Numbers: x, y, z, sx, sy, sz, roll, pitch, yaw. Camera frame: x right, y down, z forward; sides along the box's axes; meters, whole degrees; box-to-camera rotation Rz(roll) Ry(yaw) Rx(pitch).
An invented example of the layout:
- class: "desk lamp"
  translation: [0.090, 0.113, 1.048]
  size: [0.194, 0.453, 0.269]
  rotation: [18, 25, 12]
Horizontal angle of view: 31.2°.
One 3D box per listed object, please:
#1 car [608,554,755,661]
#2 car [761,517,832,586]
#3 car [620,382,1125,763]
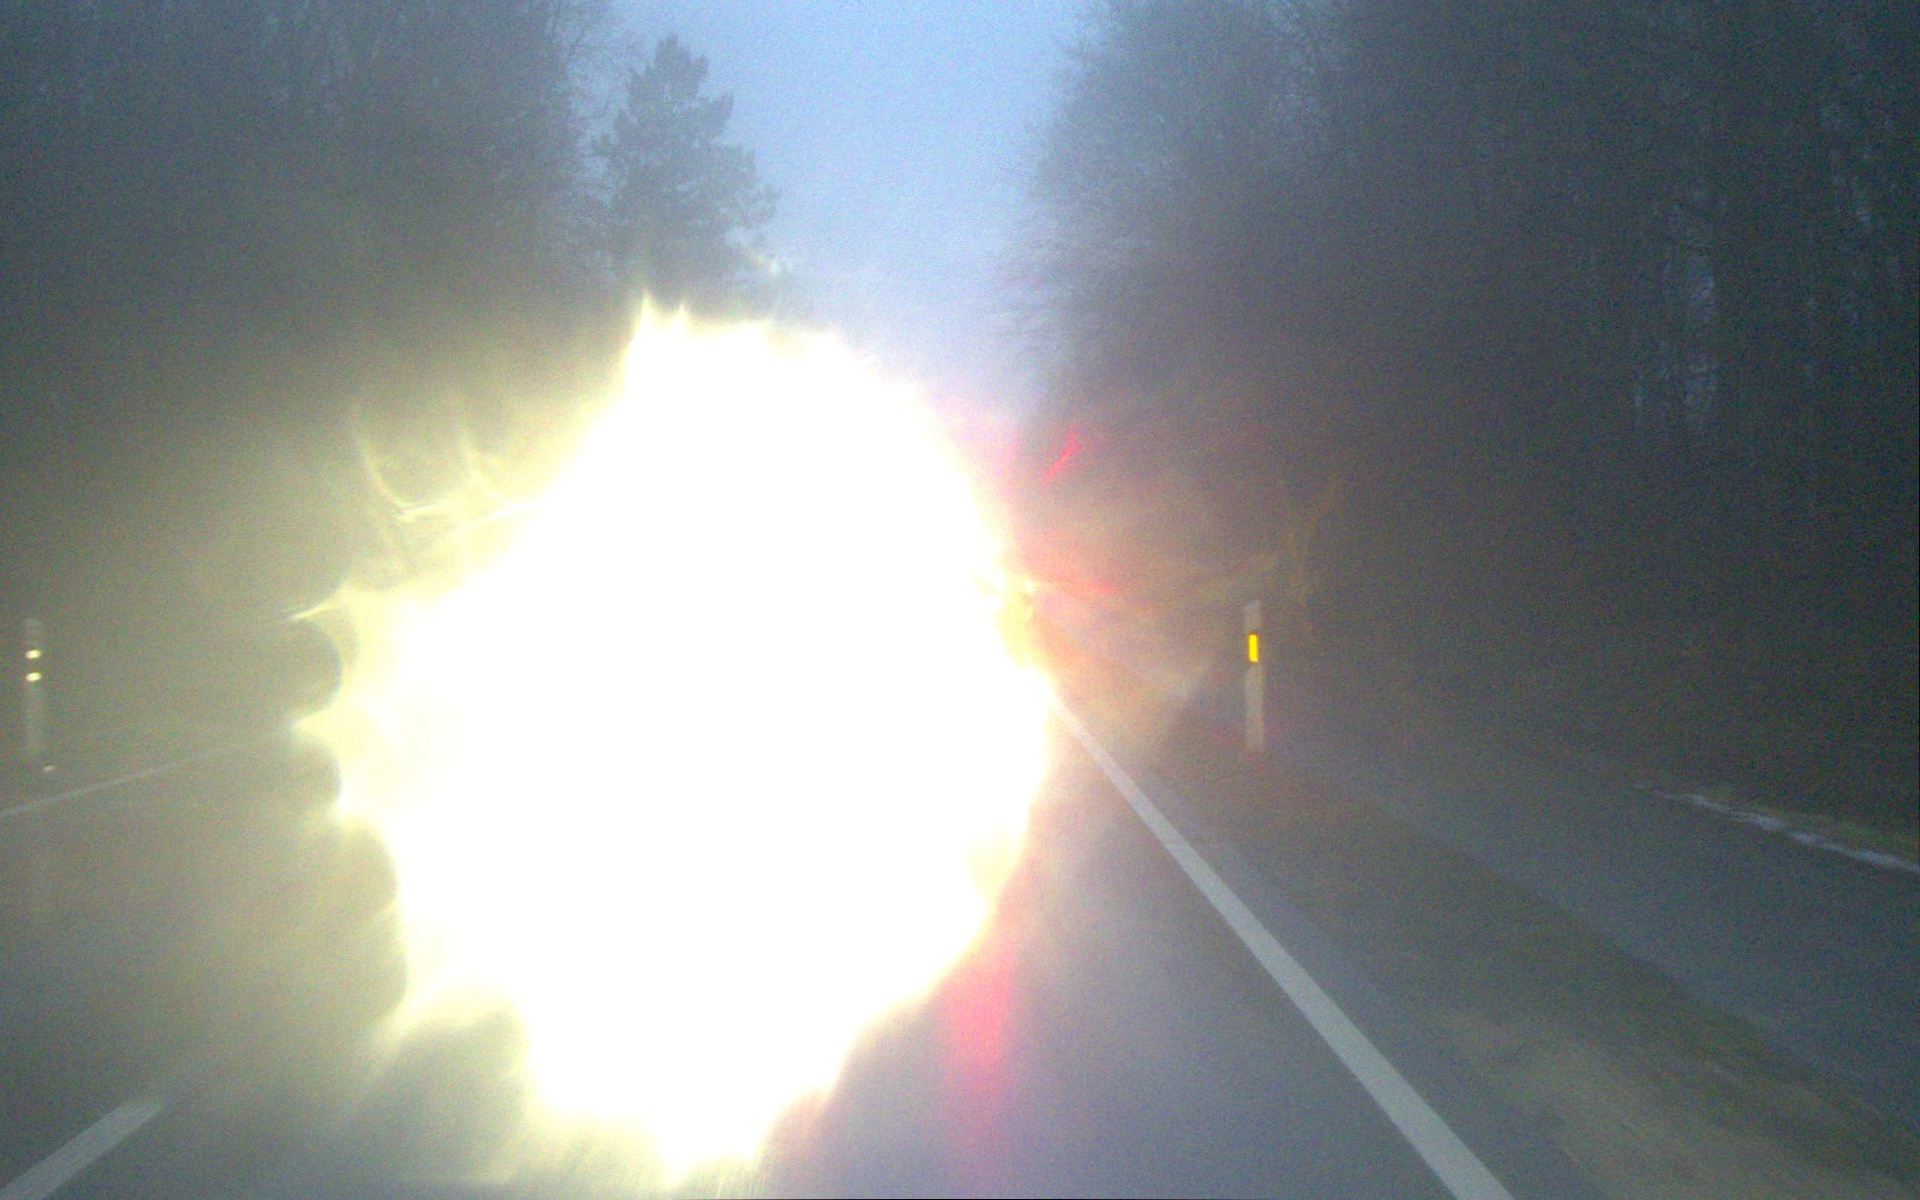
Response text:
- class: "car"
  translation: [-4.359, 0.091, 54.382]
  size: [2.075, 1.610, 4.152]
  rotation: [-1, 1, -1]
- class: "car"
  translation: [-4.981, -1.493, 105.302]
  size: [2.006, 1.982, 5.032]
  rotation: [-2, 1, -1]
- class: "car"
  translation: [-0.543, -0.222, 25.212]
  size: [3.183, 2.378, 6.636]
  rotation: [1, 1, 0]
